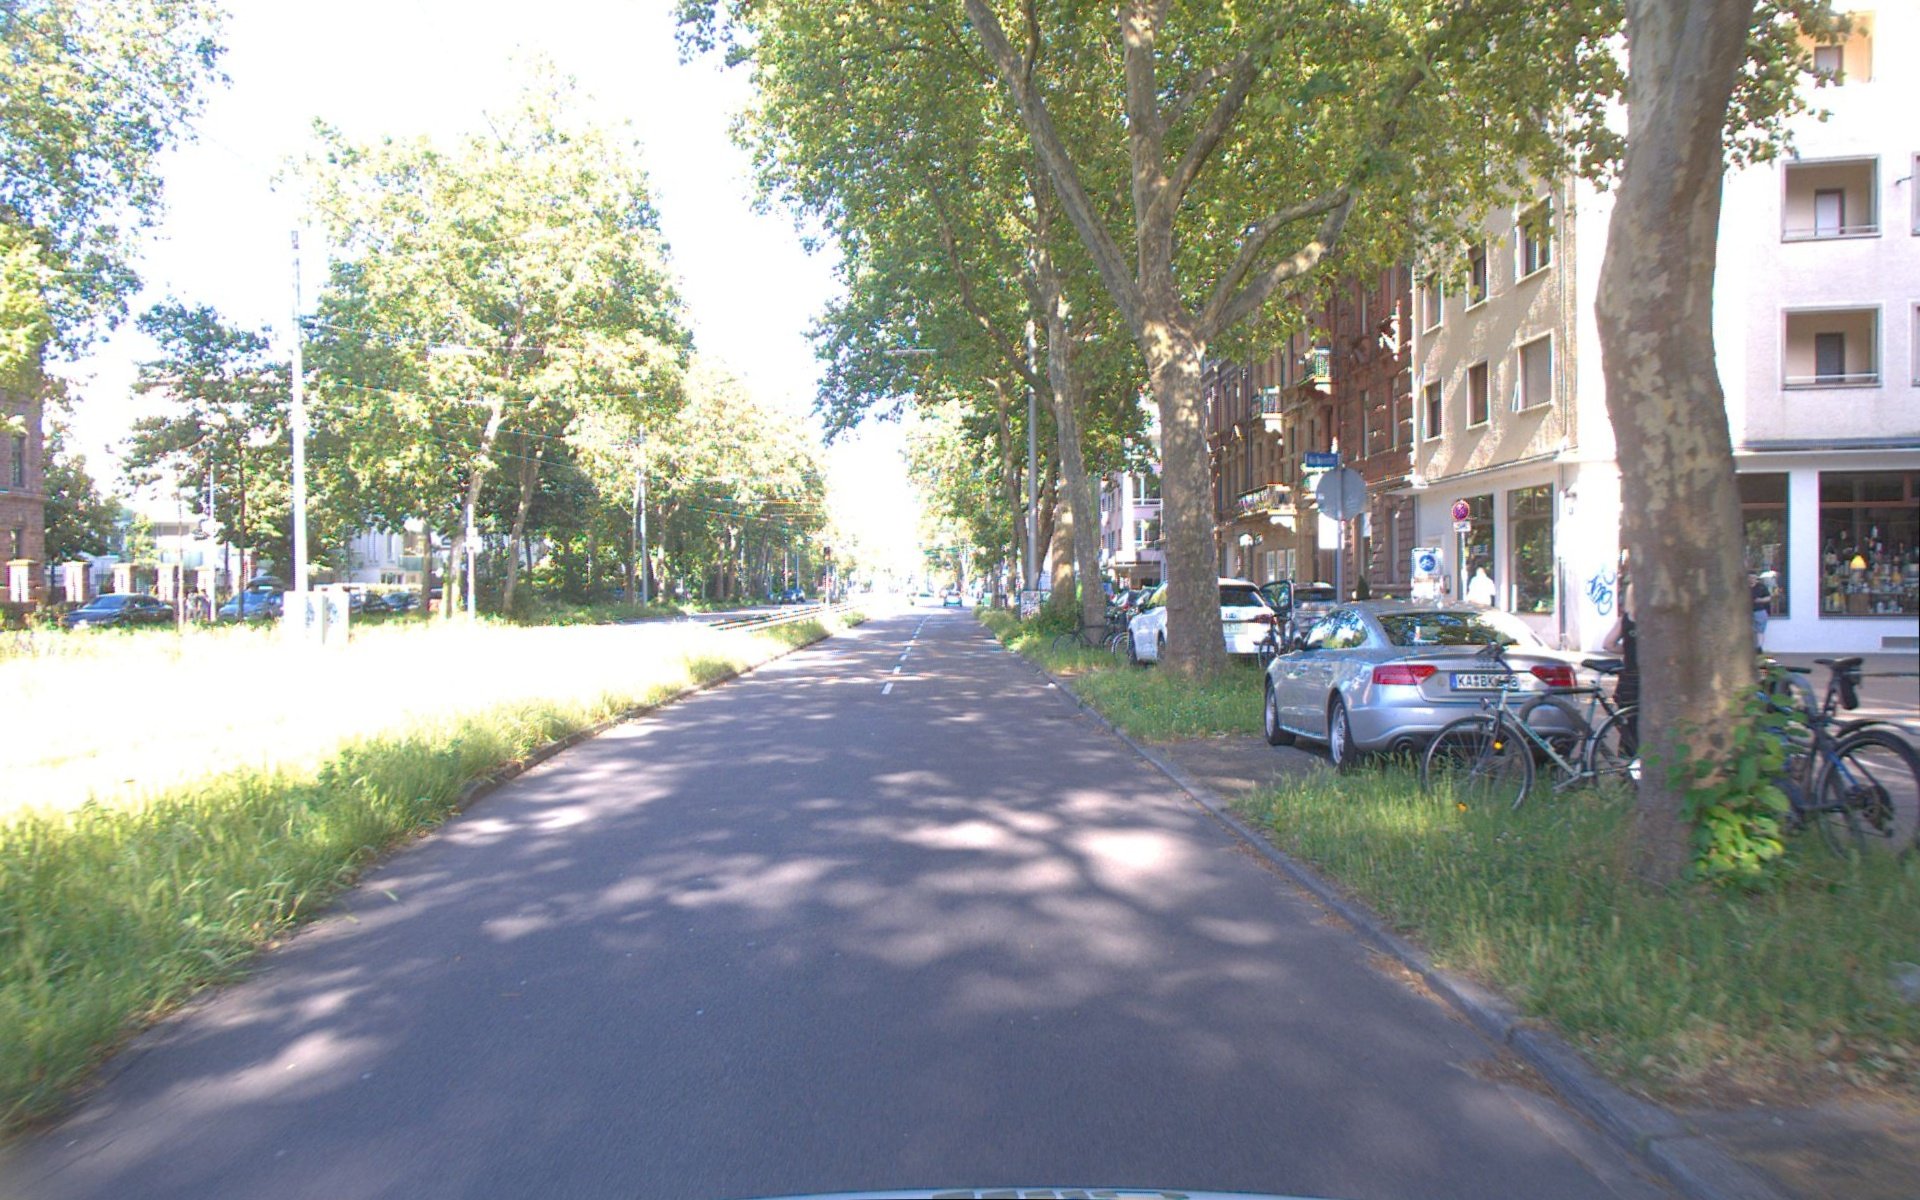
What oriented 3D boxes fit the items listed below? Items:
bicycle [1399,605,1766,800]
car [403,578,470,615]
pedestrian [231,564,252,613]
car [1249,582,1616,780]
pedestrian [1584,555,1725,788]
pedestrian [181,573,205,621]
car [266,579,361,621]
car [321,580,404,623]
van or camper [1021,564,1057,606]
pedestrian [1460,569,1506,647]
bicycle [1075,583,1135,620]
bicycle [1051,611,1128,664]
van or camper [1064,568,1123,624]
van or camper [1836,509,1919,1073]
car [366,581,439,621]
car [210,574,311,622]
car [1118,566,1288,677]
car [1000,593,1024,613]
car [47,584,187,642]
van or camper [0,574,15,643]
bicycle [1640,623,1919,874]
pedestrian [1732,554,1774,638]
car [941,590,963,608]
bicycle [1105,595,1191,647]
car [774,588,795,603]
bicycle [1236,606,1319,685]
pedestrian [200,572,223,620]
[{"bbox_3d":[3.818,0.611,10.233,2.028,1.144,0.676,0,0,-2],"label":"bicycle"},{"bbox_3d":[-26.976,-0.209,85.412,2.066,1.840,4.737,-1,1,-2],"label":"car"},{"bbox_3d":[-30.308,-0.469,69.803,0.573,2.049,0.710,0,0,-1],"label":"pedestrian"},{"bbox_3d":[3.851,0.554,14.450,1.718,1.422,5.025,0,1,-1],"label":"car"},{"bbox_3d":[5.102,0.507,12.184,0.673,1.639,0.712,2,1,-1],"label":"pedestrian"},{"bbox_3d":[-32.961,-0.146,71.106,0.700,2.049,0.626,-1,0,0],"label":"pedestrian"},{"bbox_3d":[-26.766,-0.014,68.625,1.952,1.643,4.422,0,1,3],"label":"car"},{"bbox_3d":[-26.741,0.026,74.203,2.066,1.840,4.737,-1,1,-2],"label":"car"},{"bbox_3d":[4.988,-0.924,105.142,2.138,2.523,6.270,2,0,2],"label":"van or camper"},{"bbox_3d":[11.856,0.180,37.515,0.779,1.734,0.724,-1,0,-1],"label":"pedestrian"},{"bbox_3d":[5.286,0.051,60.340,2.119,1.317,0.983,1,0,1],"label":"bicycle"},{"bbox_3d":[2.673,0.782,34.143,1.560,1.077,0.404,0,0,6],"label":"bicycle"},{"bbox_3d":[5.404,-0.163,67.508,1.797,2.134,4.772,2,0,-2],"label":"van or camper"},{"bbox_3d":[3.778,0.553,3.901,1.477,1.615,2.826,0,1,-18],"label":"van or camper"},{"bbox_3d":[-26.806,0.009,79.619,2.066,1.840,4.736,-1,1,-3],"label":"car"},{"bbox_3d":[-26.627,-0.113,63.133,1.731,1.749,4.422,0,1,3],"label":"car"},{"bbox_3d":[3.922,0.297,27.518,1.865,1.664,4.821,0,1,-3],"label":"car"},{"bbox_3d":[4.162,0.232,132.905,1.649,1.540,3.665,0,0,-3],"label":"car"},{"bbox_3d":[-26.655,0.367,52.480,1.953,1.678,4.827,0,1,0],"label":"car"},{"bbox_3d":[-26.333,0.261,42.246,1.954,1.819,4.430,-1,1,-3],"label":"van or camper"},{"bbox_3d":[4.397,0.691,8.545,0.744,1.097,1.882,0,0,-10],"label":"bicycle"},{"bbox_3d":[15.938,-0.086,33.268,0.579,1.678,0.725,0,0,10],"label":"pedestrian"},{"bbox_3d":[-0.725,-0.113,153.642,1.980,1.691,3.999,0,1,-1],"label":"car"},{"bbox_3d":[3.591,0.390,31.508,1.749,0.944,0.644,-1,1,-42],"label":"bicycle"},{"bbox_3d":[-19.440,-0.497,183.286,1.759,1.534,4.339,-3,0,0],"label":"car"},{"bbox_3d":[4.077,0.563,21.368,0.626,0.941,2.164,0,1,-1],"label":"bicycle"},{"bbox_3d":[-32.198,-0.172,71.158,0.700,2.049,0.626,-1,0,0],"label":"pedestrian"}]
